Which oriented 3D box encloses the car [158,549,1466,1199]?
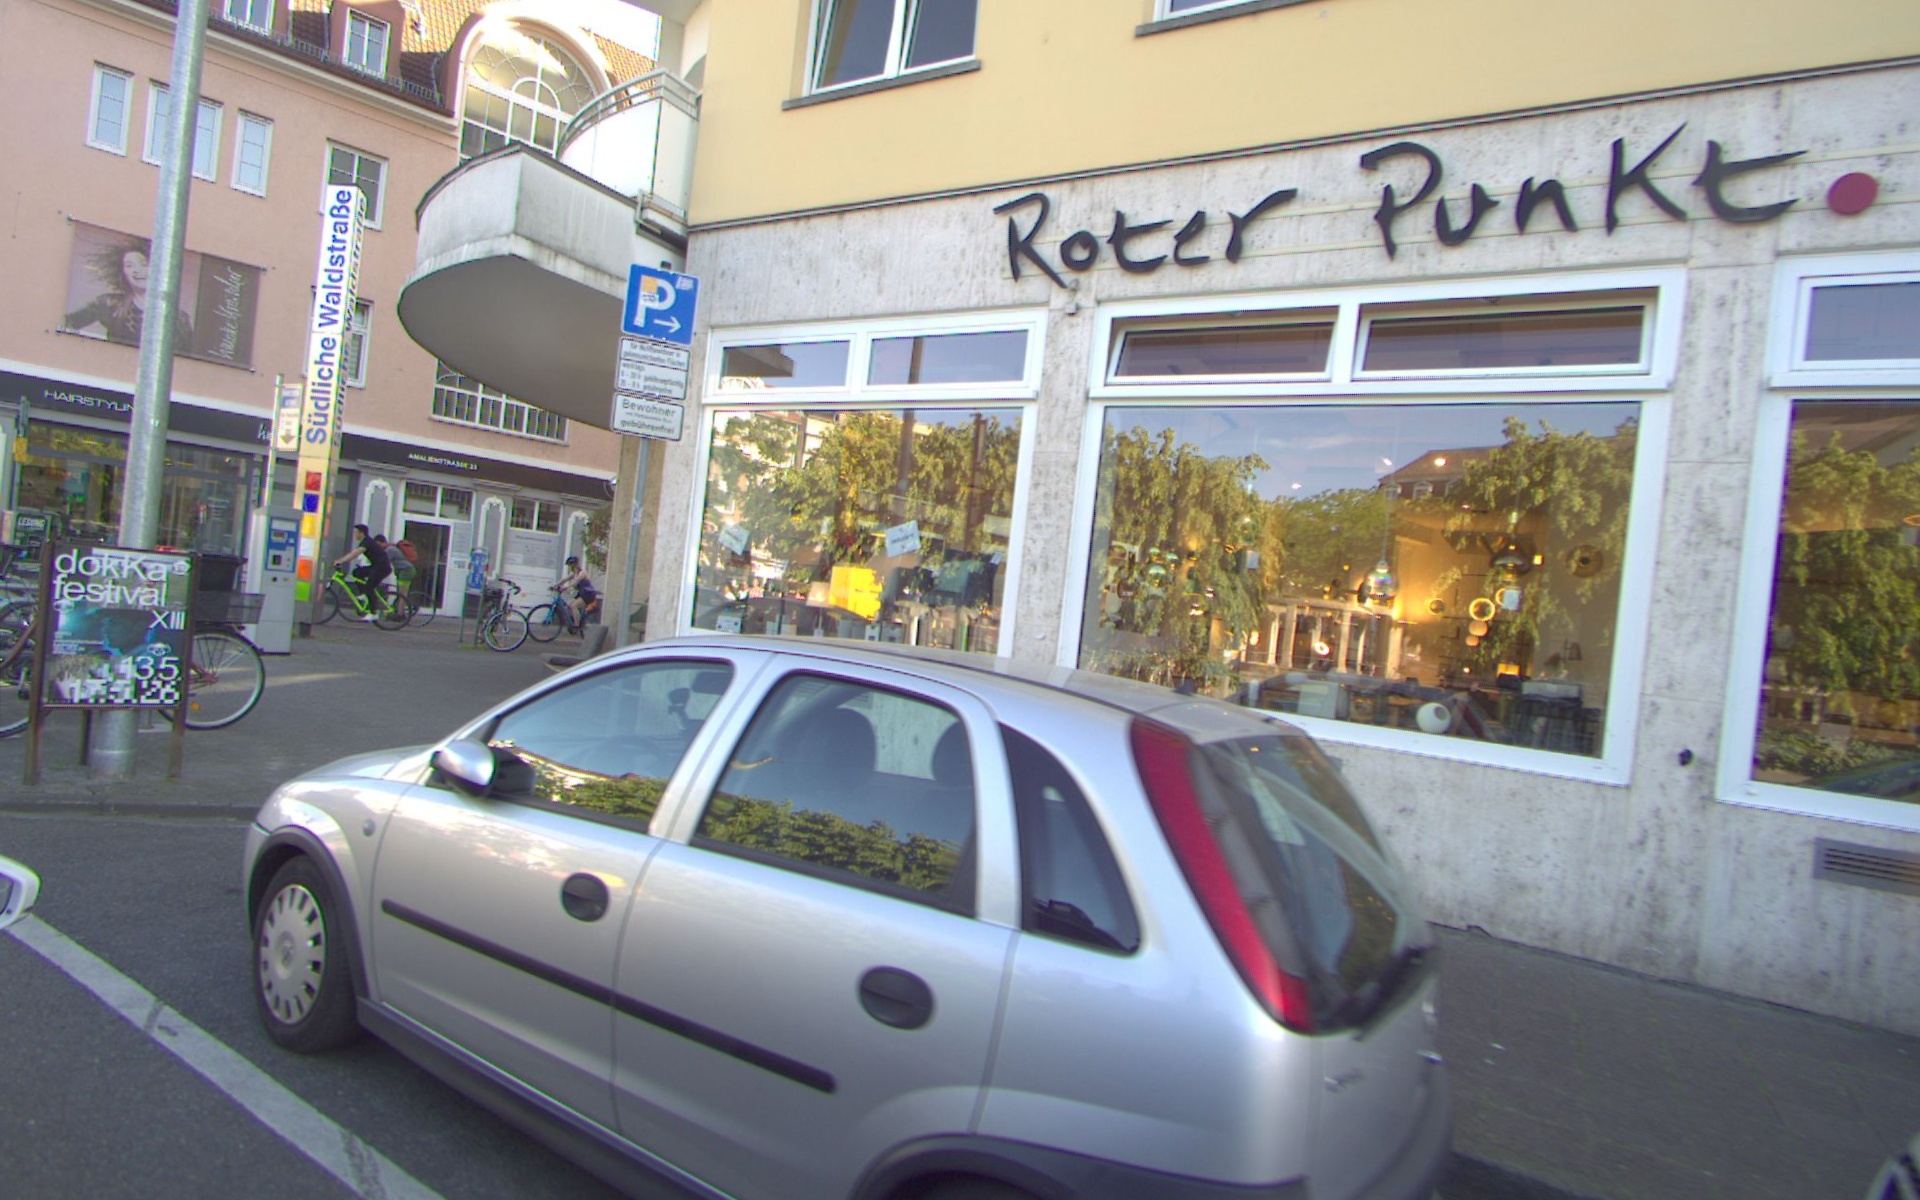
[{"bbox_3d":[-0.615,0.771,3.026,3.583,1.397,1.616,6,-2,32],"label":"car"}]

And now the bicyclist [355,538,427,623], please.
[{"bbox_3d":[-10.725,-0.376,18.966,0.942,1.467,0.797,7,-1,-39],"label":"bicyclist"}]

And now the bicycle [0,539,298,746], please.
[{"bbox_3d":[-5.615,0.275,6.649,0.681,1.208,1.885,7,1,37],"label":"bicycle"}]

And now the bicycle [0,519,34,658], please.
[{"bbox_3d":[-9.602,-0.177,8.934,0.820,1.274,1.860,6,1,37],"label":"bicycle"}]

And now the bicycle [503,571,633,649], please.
[{"bbox_3d":[-7.445,0.202,19.154,2.153,1.237,0.676,7,-1,-27],"label":"bicycle"}]

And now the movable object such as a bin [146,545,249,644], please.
[{"bbox_3d":[-9.426,-0.059,12.444,0.617,1.105,0.754,6,-2,33],"label":"movable object such as a bin"}]

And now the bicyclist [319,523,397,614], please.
[{"bbox_3d":[-10.389,-0.535,17.356,0.919,1.431,0.797,7,-1,-40],"label":"bicyclist"}]

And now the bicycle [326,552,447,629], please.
[{"bbox_3d":[-10.776,-0.166,18.938,1.786,1.237,0.673,7,-1,-40],"label":"bicycle"}]

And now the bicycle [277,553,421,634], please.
[{"bbox_3d":[-10.493,-0.094,17.313,1.959,1.163,0.782,7,-1,-40],"label":"bicycle"}]

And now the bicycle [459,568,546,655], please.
[{"bbox_3d":[-7.419,0.163,16.249,0.656,1.213,2.188,7,-1,-39],"label":"bicycle"}]

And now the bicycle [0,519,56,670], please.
[{"bbox_3d":[-8.785,-0.105,8.332,0.768,1.283,1.746,6,0,34],"label":"bicycle"}]

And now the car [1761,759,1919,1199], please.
[{"bbox_3d":[3.165,1.188,0.817,3.642,1.415,1.653,6,-1,29],"label":"car"}]

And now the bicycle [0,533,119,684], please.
[{"bbox_3d":[-7.781,0.032,7.766,0.770,1.138,1.797,6,0,37],"label":"bicycle"}]

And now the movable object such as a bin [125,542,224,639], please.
[{"bbox_3d":[-9.963,-0.112,12.764,0.617,1.105,0.734,6,-2,33],"label":"movable object such as a bin"}]

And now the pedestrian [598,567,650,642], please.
[{"bbox_3d":[-7.526,0.107,22.522,0.743,1.571,0.691,7,0,-39],"label":"pedestrian"}]

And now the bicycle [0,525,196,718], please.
[{"bbox_3d":[-6.621,0.132,7.122,0.778,1.284,1.721,6,1,37],"label":"bicycle"}]

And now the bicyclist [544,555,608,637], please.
[{"bbox_3d":[-7.326,-0.085,19.185,0.915,1.431,0.800,7,0,-28],"label":"bicyclist"}]
